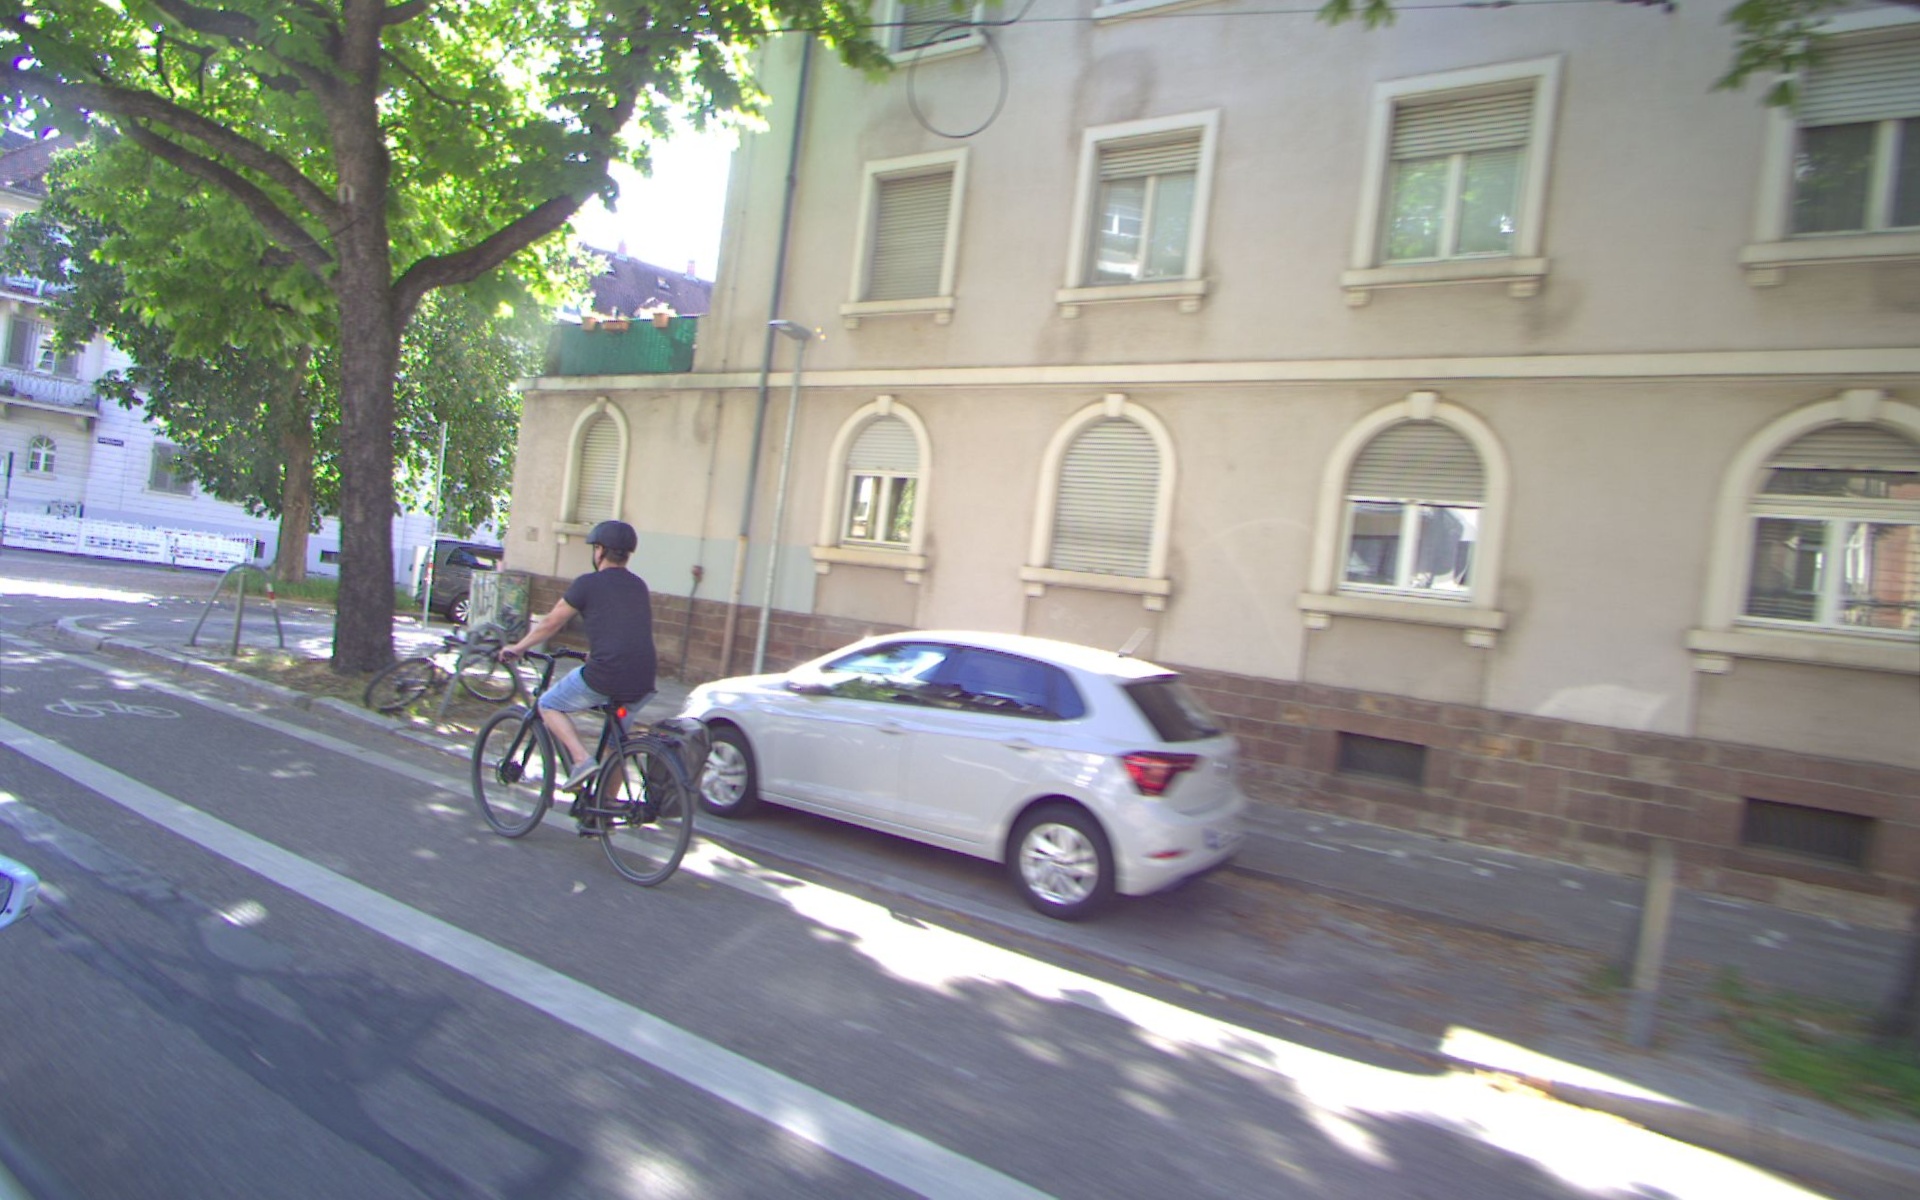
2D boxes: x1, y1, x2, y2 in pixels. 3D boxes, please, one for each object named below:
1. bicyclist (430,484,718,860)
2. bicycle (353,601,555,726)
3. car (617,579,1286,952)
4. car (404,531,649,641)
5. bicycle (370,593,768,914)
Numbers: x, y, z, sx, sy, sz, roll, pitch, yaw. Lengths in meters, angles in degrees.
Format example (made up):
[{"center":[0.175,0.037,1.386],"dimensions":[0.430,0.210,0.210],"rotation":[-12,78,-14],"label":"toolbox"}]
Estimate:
[{"center":[-2.054,0.351,5.382],"dimensions":[1.029,1.759,0.763],"rotation":[7,-1,31],"label":"bicyclist"},{"center":[-4.659,0.578,9.378],"dimensions":[0.629,0.992,1.569],"rotation":[7,0,22],"label":"bicycle"},{"center":[-0.181,0.855,6.808],"dimensions":[4.144,1.490,1.703],"rotation":[7,0,32],"label":"car"},{"center":[-10.362,-0.258,24.180],"dimensions":[5.018,1.911,1.984],"rotation":[8,-3,-33],"label":"car"},{"center":[-2.138,0.726,5.398],"dimensions":[2.061,1.256,0.763],"rotation":[7,-1,31],"label":"bicycle"}]
